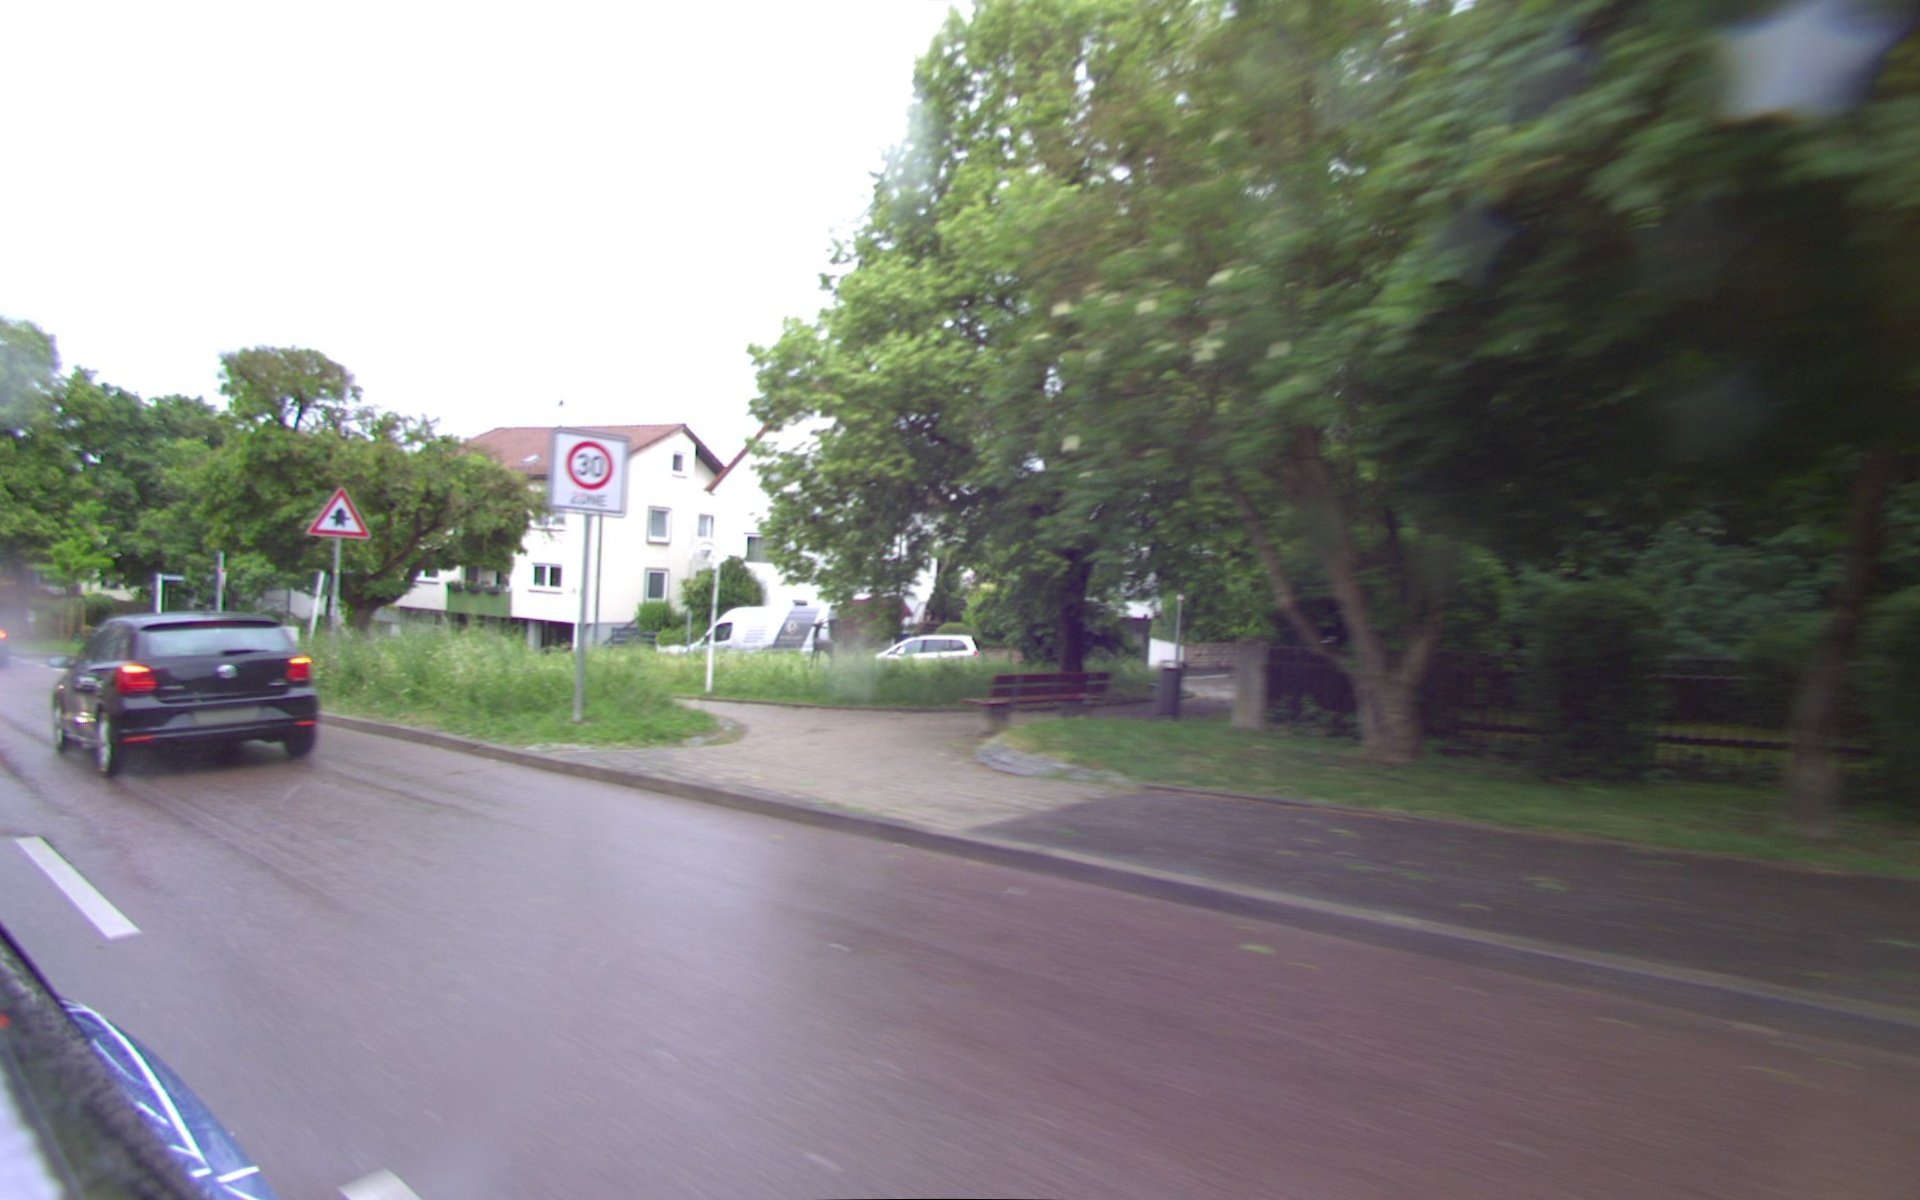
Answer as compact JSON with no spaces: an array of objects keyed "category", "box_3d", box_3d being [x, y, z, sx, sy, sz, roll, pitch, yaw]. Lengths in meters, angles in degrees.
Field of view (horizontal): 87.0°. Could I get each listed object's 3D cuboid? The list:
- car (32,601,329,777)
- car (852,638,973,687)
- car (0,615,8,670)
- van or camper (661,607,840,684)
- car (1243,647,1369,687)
[{"category":"car","box_3d":[-7.932,0.754,10.188,3.734,1.452,1.602,-1,-1,40]},{"category":"car","box_3d":[-1.616,2.139,34.920,3.989,1.560,1.557,0,-1,6]},{"category":"car","box_3d":[-26.920,1.108,27.134,3.843,1.440,1.701,-1,-1,42]},{"category":"van or camper","box_3d":[-7.370,1.563,35.716,5.998,2.576,1.636,0,1,10]},{"category":"car","box_3d":[12.192,2.340,35.737,3.907,1.263,1.726,0,-1,-14]}]
